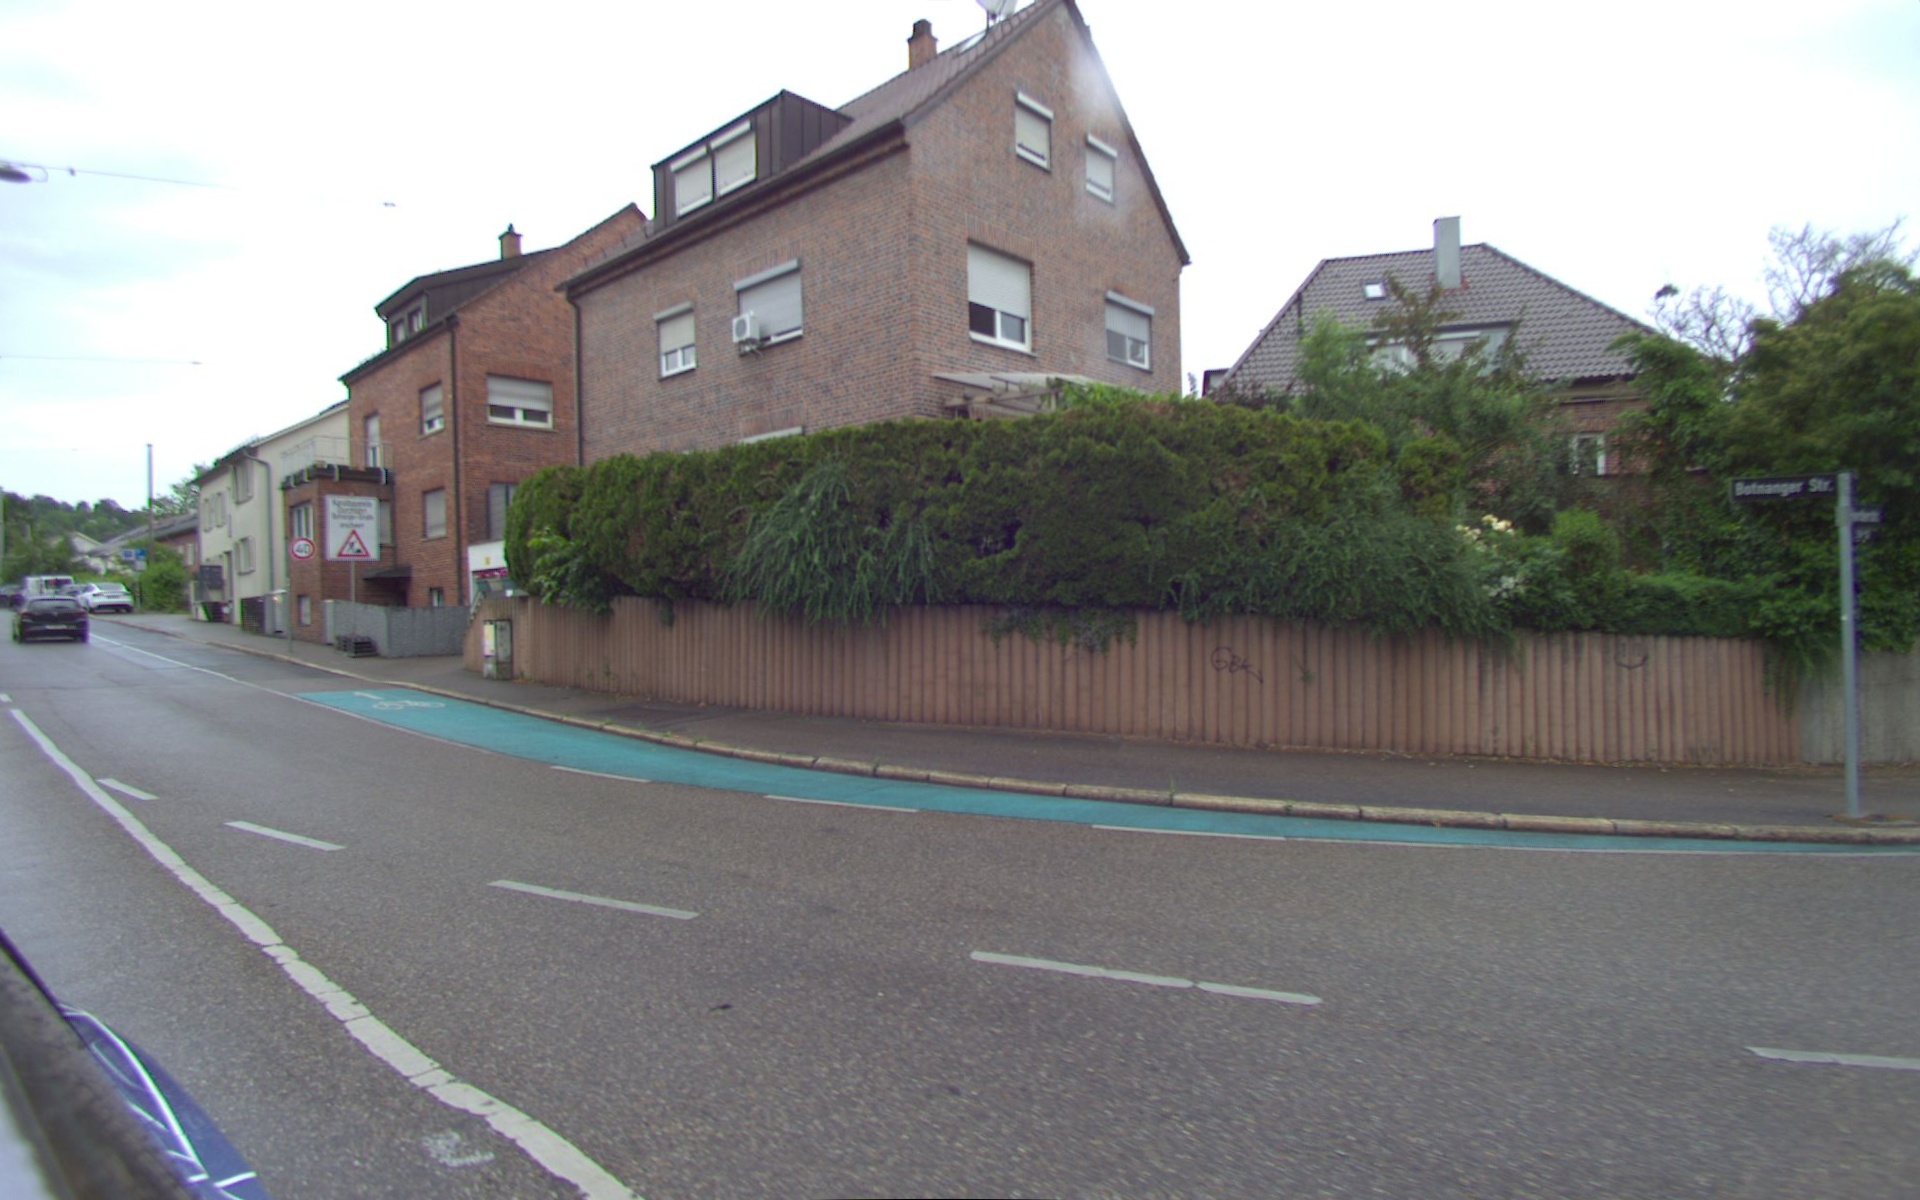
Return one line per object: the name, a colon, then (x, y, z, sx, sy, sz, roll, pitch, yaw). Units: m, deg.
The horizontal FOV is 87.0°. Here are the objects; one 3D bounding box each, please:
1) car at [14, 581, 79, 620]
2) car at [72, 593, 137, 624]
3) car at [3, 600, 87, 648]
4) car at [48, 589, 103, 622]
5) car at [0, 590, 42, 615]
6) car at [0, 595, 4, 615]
car: (-57.388, 0.030, 63.540, 4.541, 2.303, 2.230, -1, 1, 38)
car: (-46.288, 0.460, 54.708, 4.259, 1.577, 1.922, -1, 1, 39)
car: (-29.647, 0.738, 32.756, 1.893, 1.457, 3.721, 0, -1, -44)
car: (-52.482, 0.317, 60.021, 4.259, 1.817, 1.792, -1, 1, 39)
car: (-61.986, 0.173, 66.295, 3.998, 1.501, 1.637, -1, 1, 32)
car: (-67.134, 0.373, 69.300, 3.850, 1.407, 1.636, -1, 1, 34)
